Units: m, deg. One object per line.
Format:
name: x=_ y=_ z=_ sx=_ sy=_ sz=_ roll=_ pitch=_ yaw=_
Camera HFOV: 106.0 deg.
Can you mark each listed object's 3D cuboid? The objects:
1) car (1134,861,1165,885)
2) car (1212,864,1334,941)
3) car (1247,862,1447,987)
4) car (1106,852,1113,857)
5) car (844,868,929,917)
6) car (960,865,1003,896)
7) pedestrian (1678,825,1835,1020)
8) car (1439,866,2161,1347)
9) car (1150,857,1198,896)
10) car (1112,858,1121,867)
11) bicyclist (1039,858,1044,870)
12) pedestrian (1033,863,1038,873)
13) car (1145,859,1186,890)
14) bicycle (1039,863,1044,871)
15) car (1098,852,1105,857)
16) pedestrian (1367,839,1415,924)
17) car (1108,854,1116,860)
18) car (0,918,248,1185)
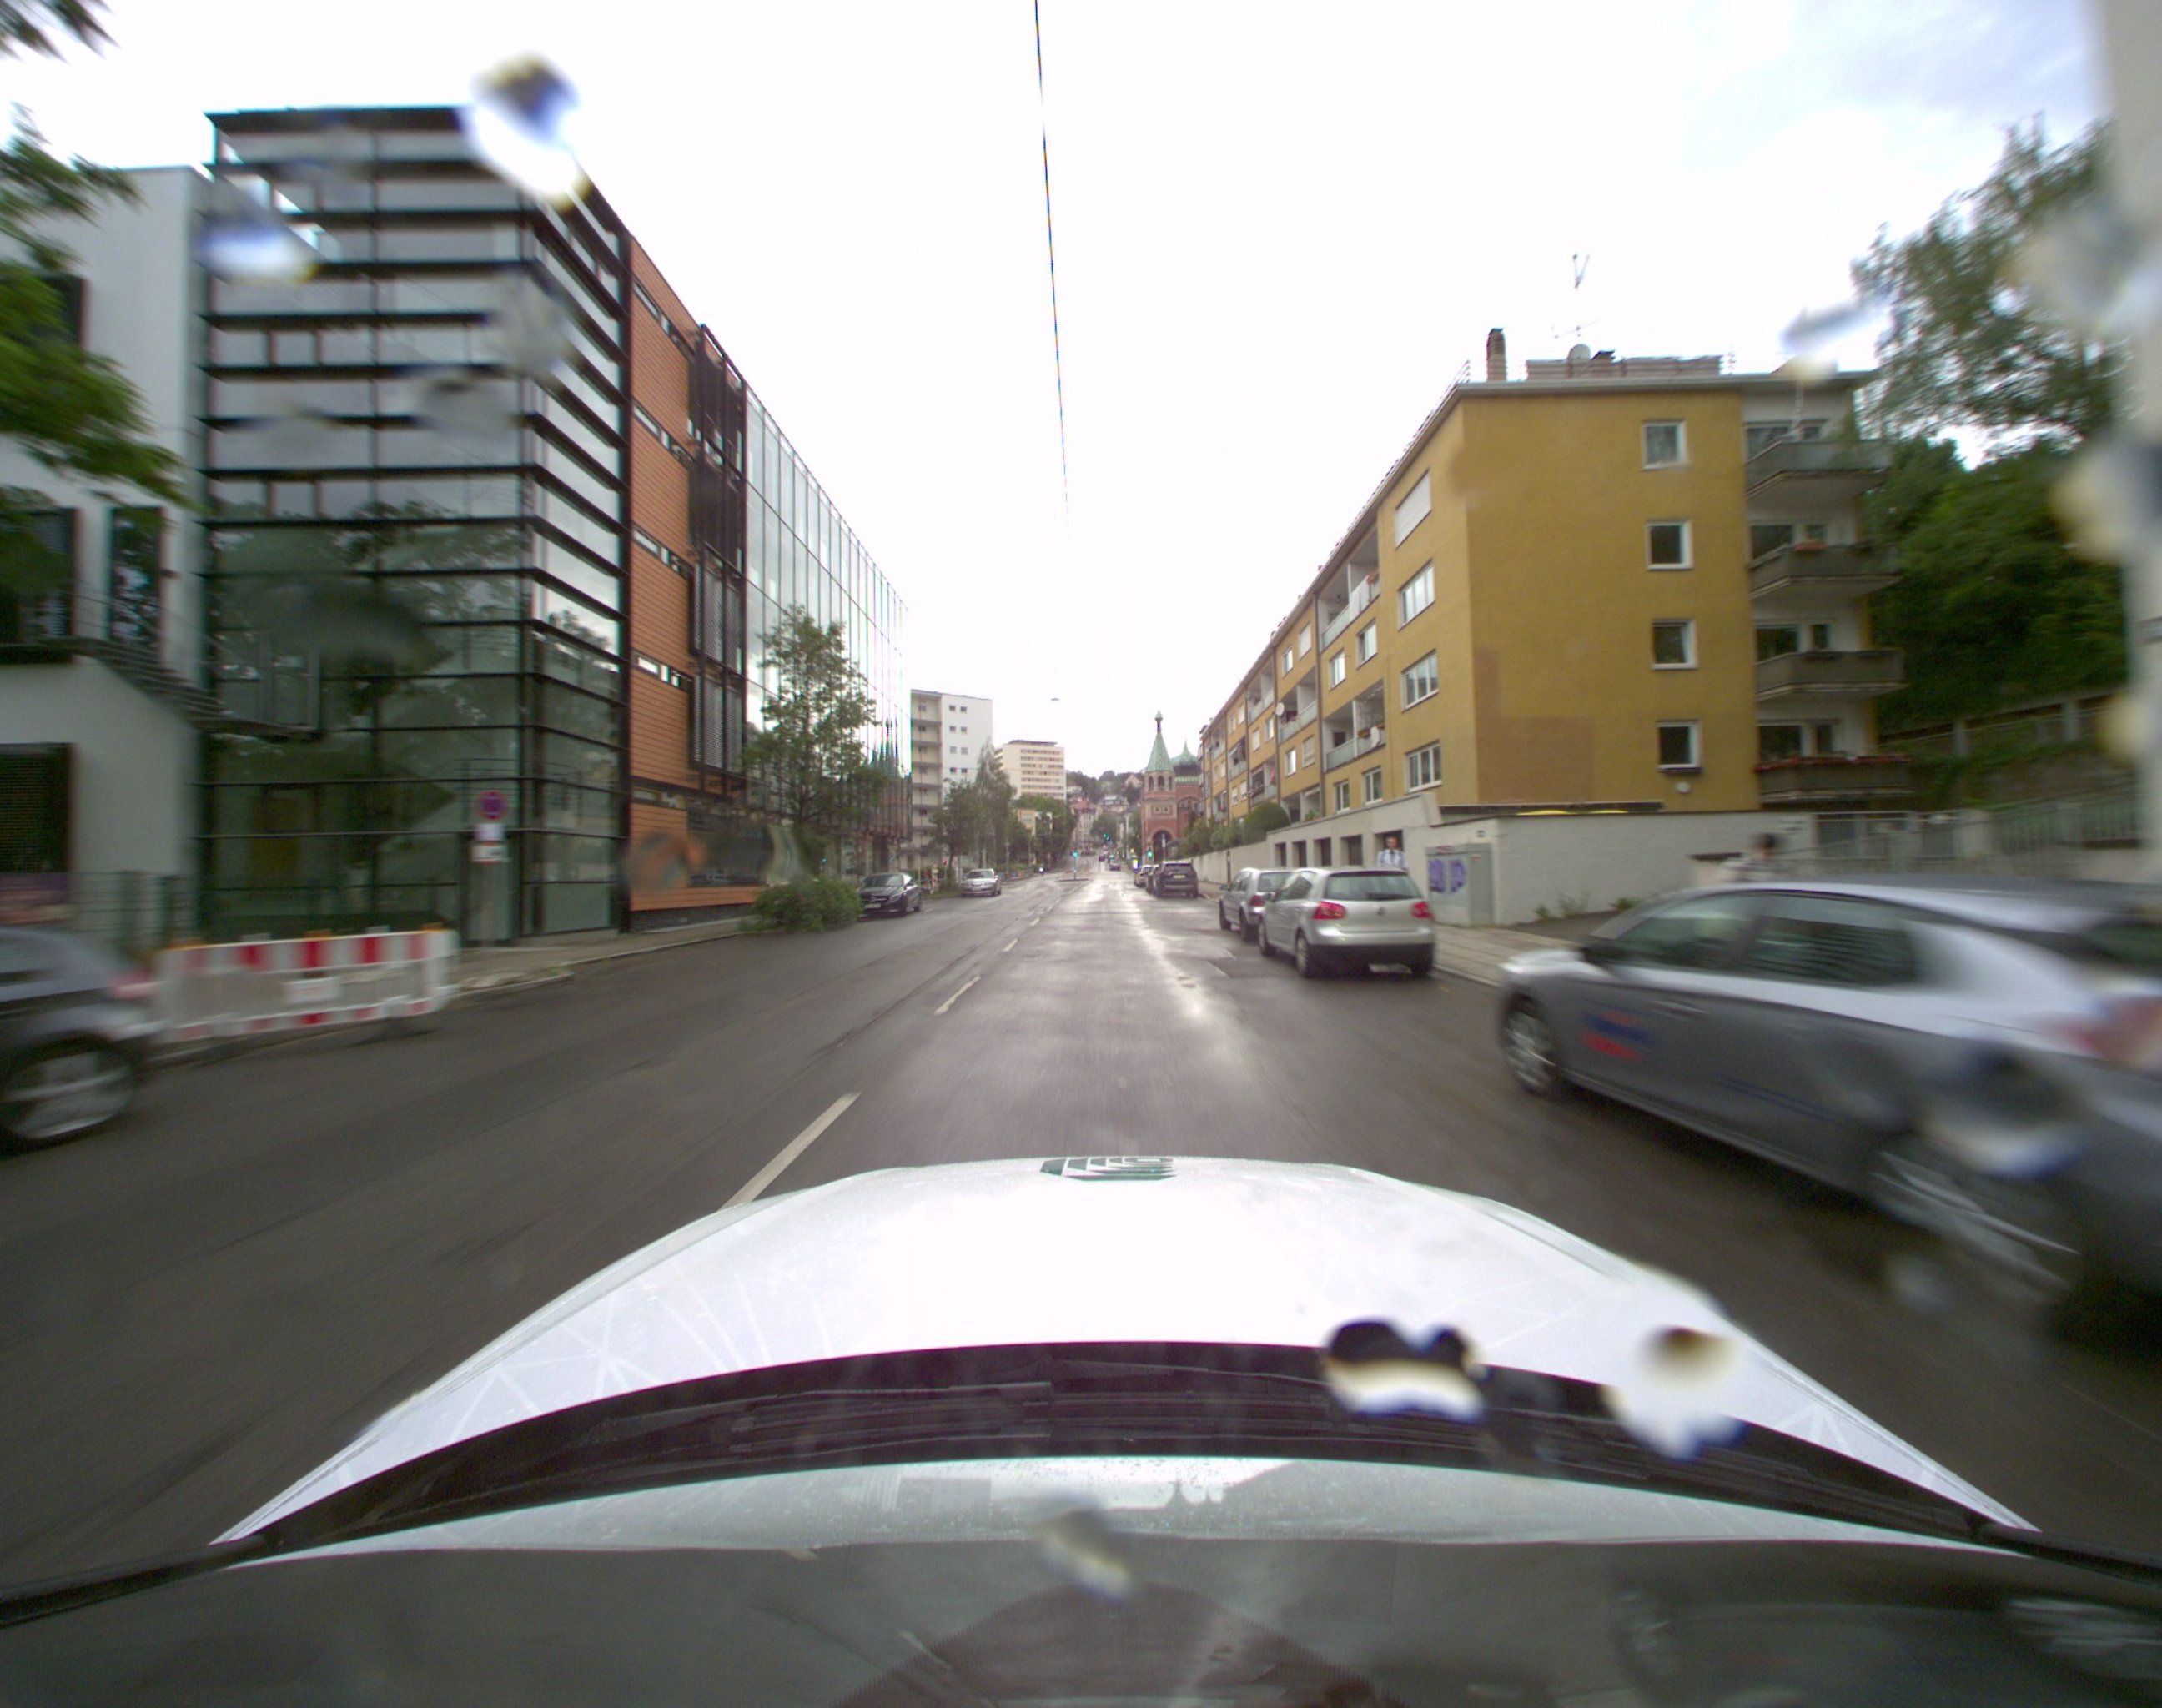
car: x=4.623 y=1.289 z=55.208 sx=1.811 sy=1.522 sz=4.076 roll=0 pitch=0 yaw=1
car: x=3.940 y=0.943 z=17.362 sx=1.658 sy=1.400 sz=3.920 roll=-1 pitch=0 yaw=0
car: x=3.706 y=0.889 z=12.083 sx=1.658 sy=1.502 sz=3.920 roll=-1 pitch=0 yaw=0
car: x=7.853 y=0.078 z=224.985 sx=1.901 sy=1.510 sz=4.001 roll=0 pitch=0 yaw=1
car: x=-6.550 y=1.249 z=27.937 sx=1.798 sy=1.450 sz=4.655 roll=-2 pitch=-1 yaw=-1
car: x=-5.225 y=1.367 z=43.206 sx=1.704 sy=1.450 sz=4.294 roll=-2 pitch=-1 yaw=0
pedestrian: x=6.001 y=0.579 z=7.281 sx=0.661 sy=1.603 sz=0.745 roll=-5 pitch=0 yaw=5
car: x=3.729 y=0.804 z=4.481 sx=1.659 sy=1.421 sz=3.918 roll=-1 pitch=-1 yaw=-2
car: x=4.248 y=0.986 z=37.602 sx=1.811 sy=1.652 sz=4.076 roll=0 pitch=0 yaw=1
car: x=7.538 y=1.797 z=172.179 sx=1.724 sy=1.653 sz=4.005 roll=-1 pitch=0 yaw=4
bicyclist: x=-5.697 y=1.417 z=118.544 sx=0.675 sy=1.661 sz=0.649 roll=-1 pitch=-1 yaw=-2
pedestrian: x=-8.571 y=2.674 z=152.762 sx=0.886 sy=1.893 sz=0.921 roll=-1 pitch=0 yaw=-5
car: x=4.395 y=1.021 z=42.924 sx=1.811 sy=1.522 sz=4.076 roll=0 pitch=0 yaw=1
bicycle: x=-5.690 y=1.893 z=118.538 sx=0.675 sy=1.107 sz=1.799 roll=-1 pitch=-1 yaw=-2
car: x=5.891 y=0.080 z=237.623 sx=1.901 sy=1.510 sz=4.001 roll=0 pitch=0 yaw=1
pedestrian: x=6.587 y=0.570 z=17.321 sx=0.760 sy=1.732 sz=0.746 roll=-4 pitch=1 yaw=12
car: x=7.929 y=0.674 z=209.071 sx=1.886 sy=1.510 sz=4.001 roll=0 pitch=0 yaw=1
car: x=-6.823 y=1.161 z=3.651 sx=1.719 sy=1.375 sz=4.341 roll=-2 pitch=-1 yaw=-1
